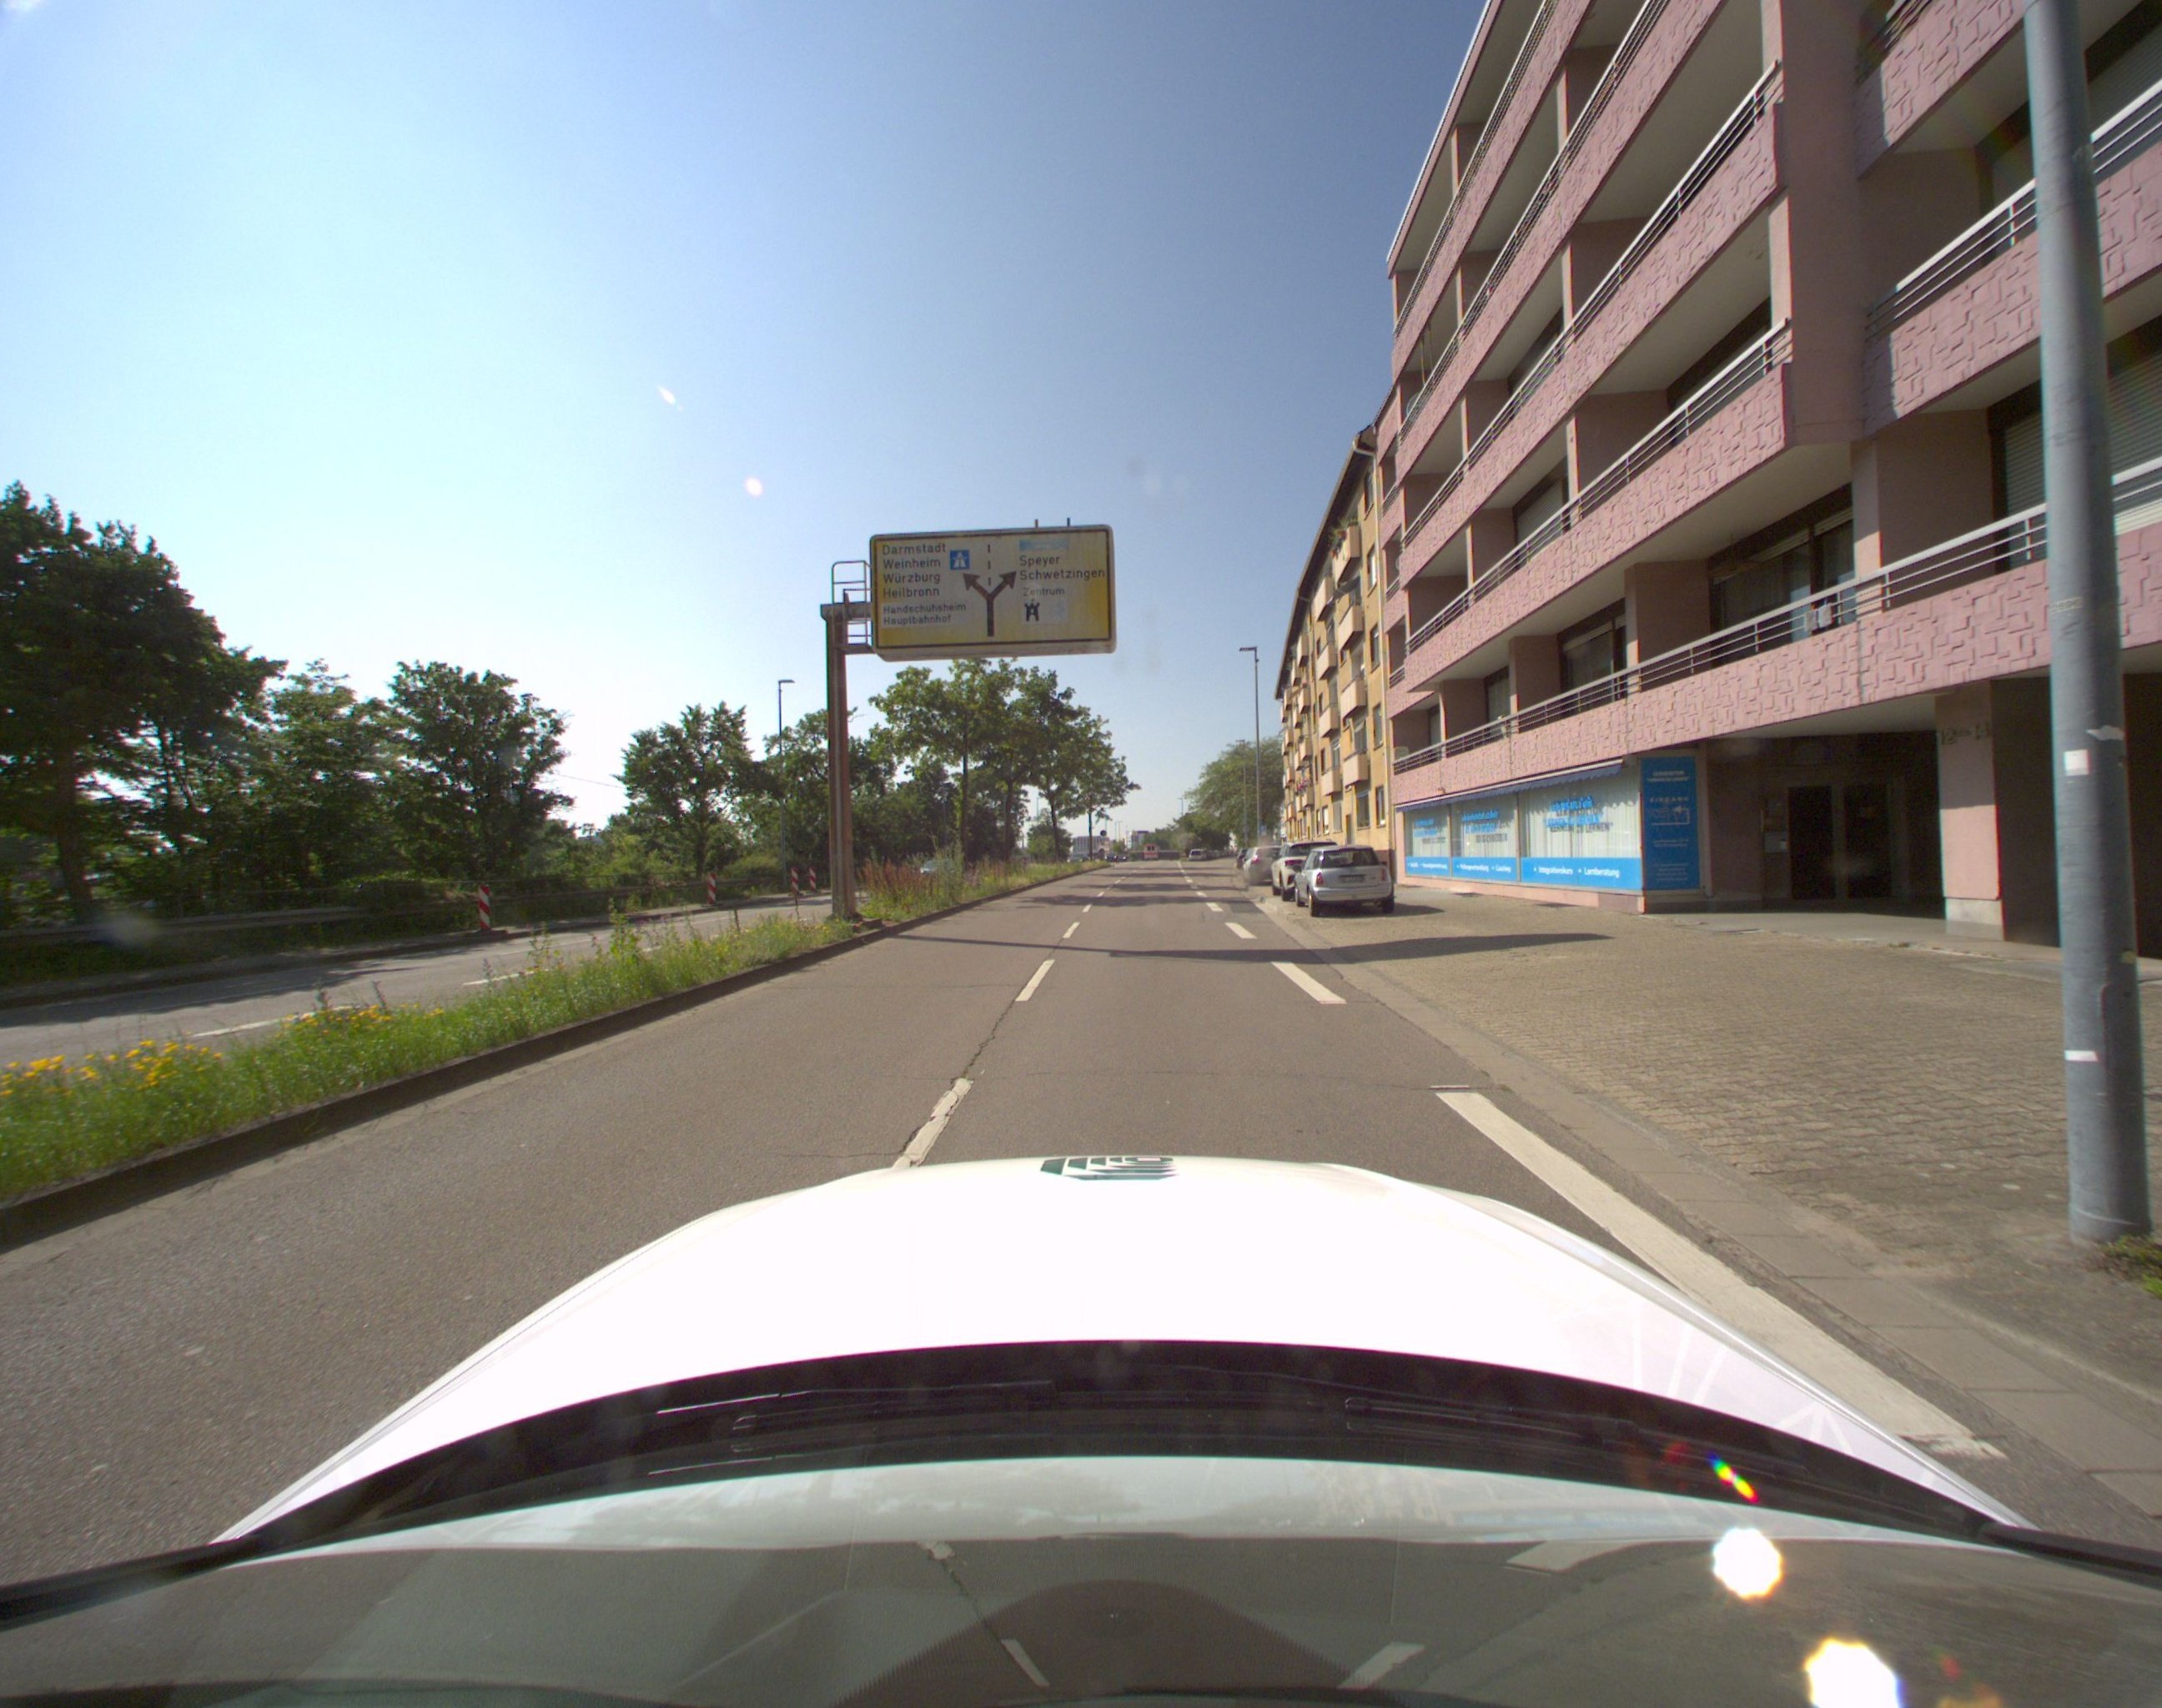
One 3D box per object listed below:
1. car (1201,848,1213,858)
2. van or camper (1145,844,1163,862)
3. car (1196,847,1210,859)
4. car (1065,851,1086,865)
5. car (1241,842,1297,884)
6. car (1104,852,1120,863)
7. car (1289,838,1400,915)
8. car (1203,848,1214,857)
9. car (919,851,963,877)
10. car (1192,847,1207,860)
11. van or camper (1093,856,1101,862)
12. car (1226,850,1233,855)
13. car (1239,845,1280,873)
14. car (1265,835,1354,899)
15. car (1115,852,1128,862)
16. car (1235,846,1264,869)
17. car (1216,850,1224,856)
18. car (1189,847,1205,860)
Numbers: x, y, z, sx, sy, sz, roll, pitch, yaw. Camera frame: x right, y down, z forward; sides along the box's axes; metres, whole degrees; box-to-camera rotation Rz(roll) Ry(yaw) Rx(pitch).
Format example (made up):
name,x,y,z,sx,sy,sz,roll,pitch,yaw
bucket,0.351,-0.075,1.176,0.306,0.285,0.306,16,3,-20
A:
name,x,y,z,sx,sy,sz,roll,pitch,yaw
car,20.012,-0.144,128.941,1.653,1.473,3.802,0,1,12
van or camper,12.054,-0.133,134.645,2.281,2.789,5.588,-1,0,11
car,17.015,-0.180,113.505,1.761,1.579,4.197,-3,0,9
car,-0.586,0.426,88.989,1.788,1.530,4.008,-2,0,7
car,7.500,0.333,32.780,1.746,1.506,4.137,-3,0,8
car,4.237,0.446,110.407,1.753,1.474,4.094,-3,0,8
car,5.643,0.442,17.802,1.668,1.409,3.439,-4,0,8
car,21.136,-0.222,134.686,1.653,1.511,3.802,0,1,12
car,-8.779,0.580,51.266,1.637,1.416,3.976,-5,0,5
car,15.774,-0.088,108.118,1.710,1.505,4.146,-3,0,12
van or camper,3.917,1.160,195.876,1.459,1.350,4.638,-2,0,6
car,45.457,-0.466,248.680,1.981,1.657,4.012,-2,0,11
car,10.034,0.238,46.061,1.790,1.438,4.600,-3,0,7
car,6.206,0.318,22.542,1.726,1.541,4.363,-3,0,8
car,7.691,0.506,154.039,1.983,1.734,4.739,-2,0,7
car,11.726,0.216,56.838,1.701,1.462,4.266,-2,0,9
car,31.925,-0.225,186.983,1.653,1.509,4.022,0,1,12
car,14.757,-0.043,103.593,1.609,1.505,3.473,-3,0,12
